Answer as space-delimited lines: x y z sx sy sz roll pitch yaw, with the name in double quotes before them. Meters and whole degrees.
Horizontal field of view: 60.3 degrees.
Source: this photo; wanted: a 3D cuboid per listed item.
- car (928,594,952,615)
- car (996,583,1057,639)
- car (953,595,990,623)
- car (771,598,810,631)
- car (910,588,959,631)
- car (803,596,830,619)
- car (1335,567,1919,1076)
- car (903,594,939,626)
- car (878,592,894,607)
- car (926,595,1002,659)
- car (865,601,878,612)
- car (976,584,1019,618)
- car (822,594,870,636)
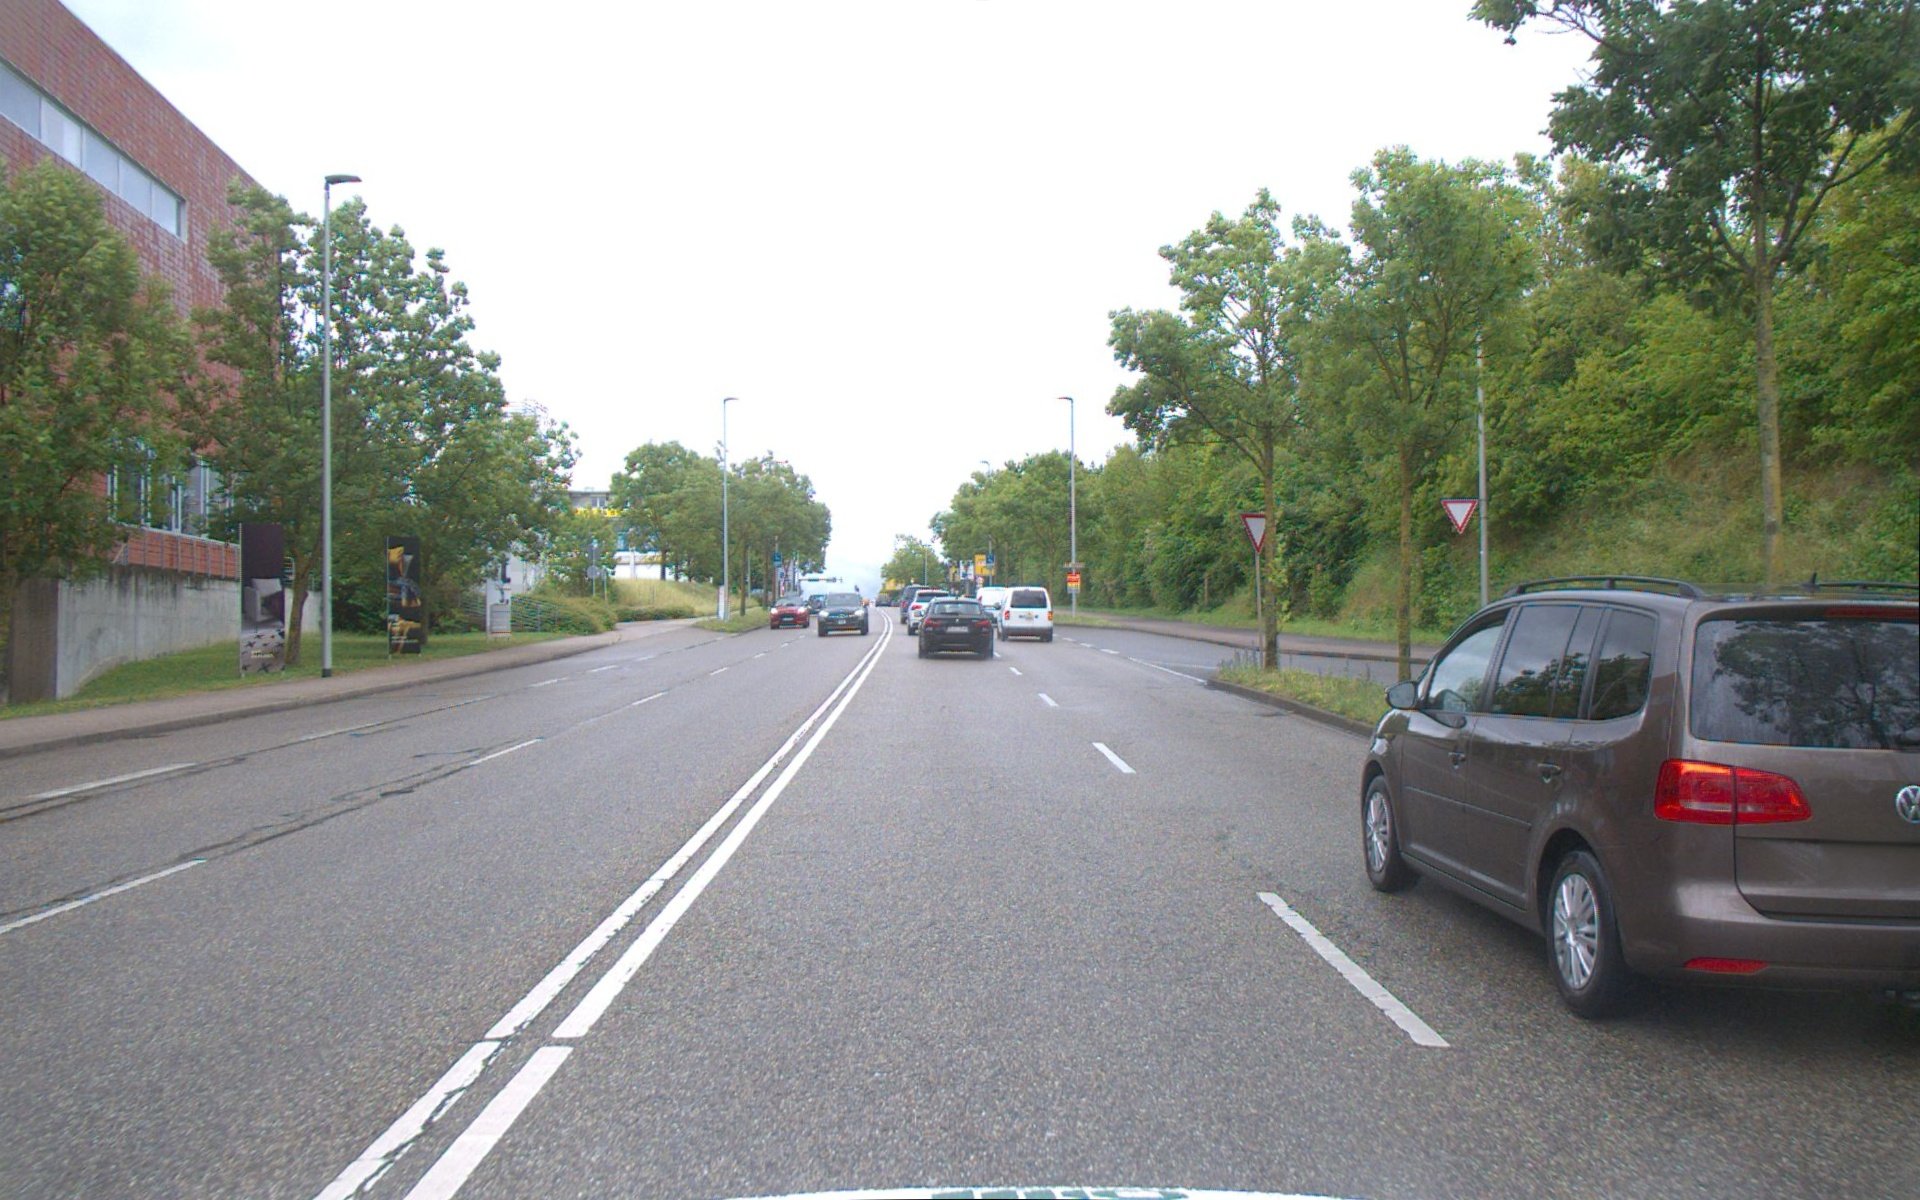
"car" -1.526 0.335 125.512 1.758 1.537 3.999 1 -1 -1
"car" 2.231 0.354 56.401 1.790 1.790 3.999 1 0 -2
"car" 0.623 0.513 93.124 1.759 1.537 3.996 1 -1 -4
"car" -8.223 0.697 80.525 1.759 1.537 3.996 1 -1 -4
"car" -0.991 0.362 62.697 1.758 1.537 3.998 1 -1 -2
"car" -9.968 0.514 114.814 1.759 1.537 3.996 1 -1 -4
"car" 3.080 0.709 7.391 1.651 1.609 4.216 1 0 -3
"car" -1.930 0.506 82.814 1.758 1.537 3.999 1 -1 -1
"car" -8.287 -0.034 186.029 1.758 1.537 3.998 1 -1 -2
"car" 0.082 0.629 41.147 1.790 1.494 4.000 0 0 0
"car" -12.669 0.943 237.343 1.758 1.537 3.998 1 -1 -2
"car" 1.756 0.052 78.325 1.758 1.537 3.998 1 -1 -2
"car" -4.398 0.579 63.677 1.759 1.537 3.996 1 -1 -4
